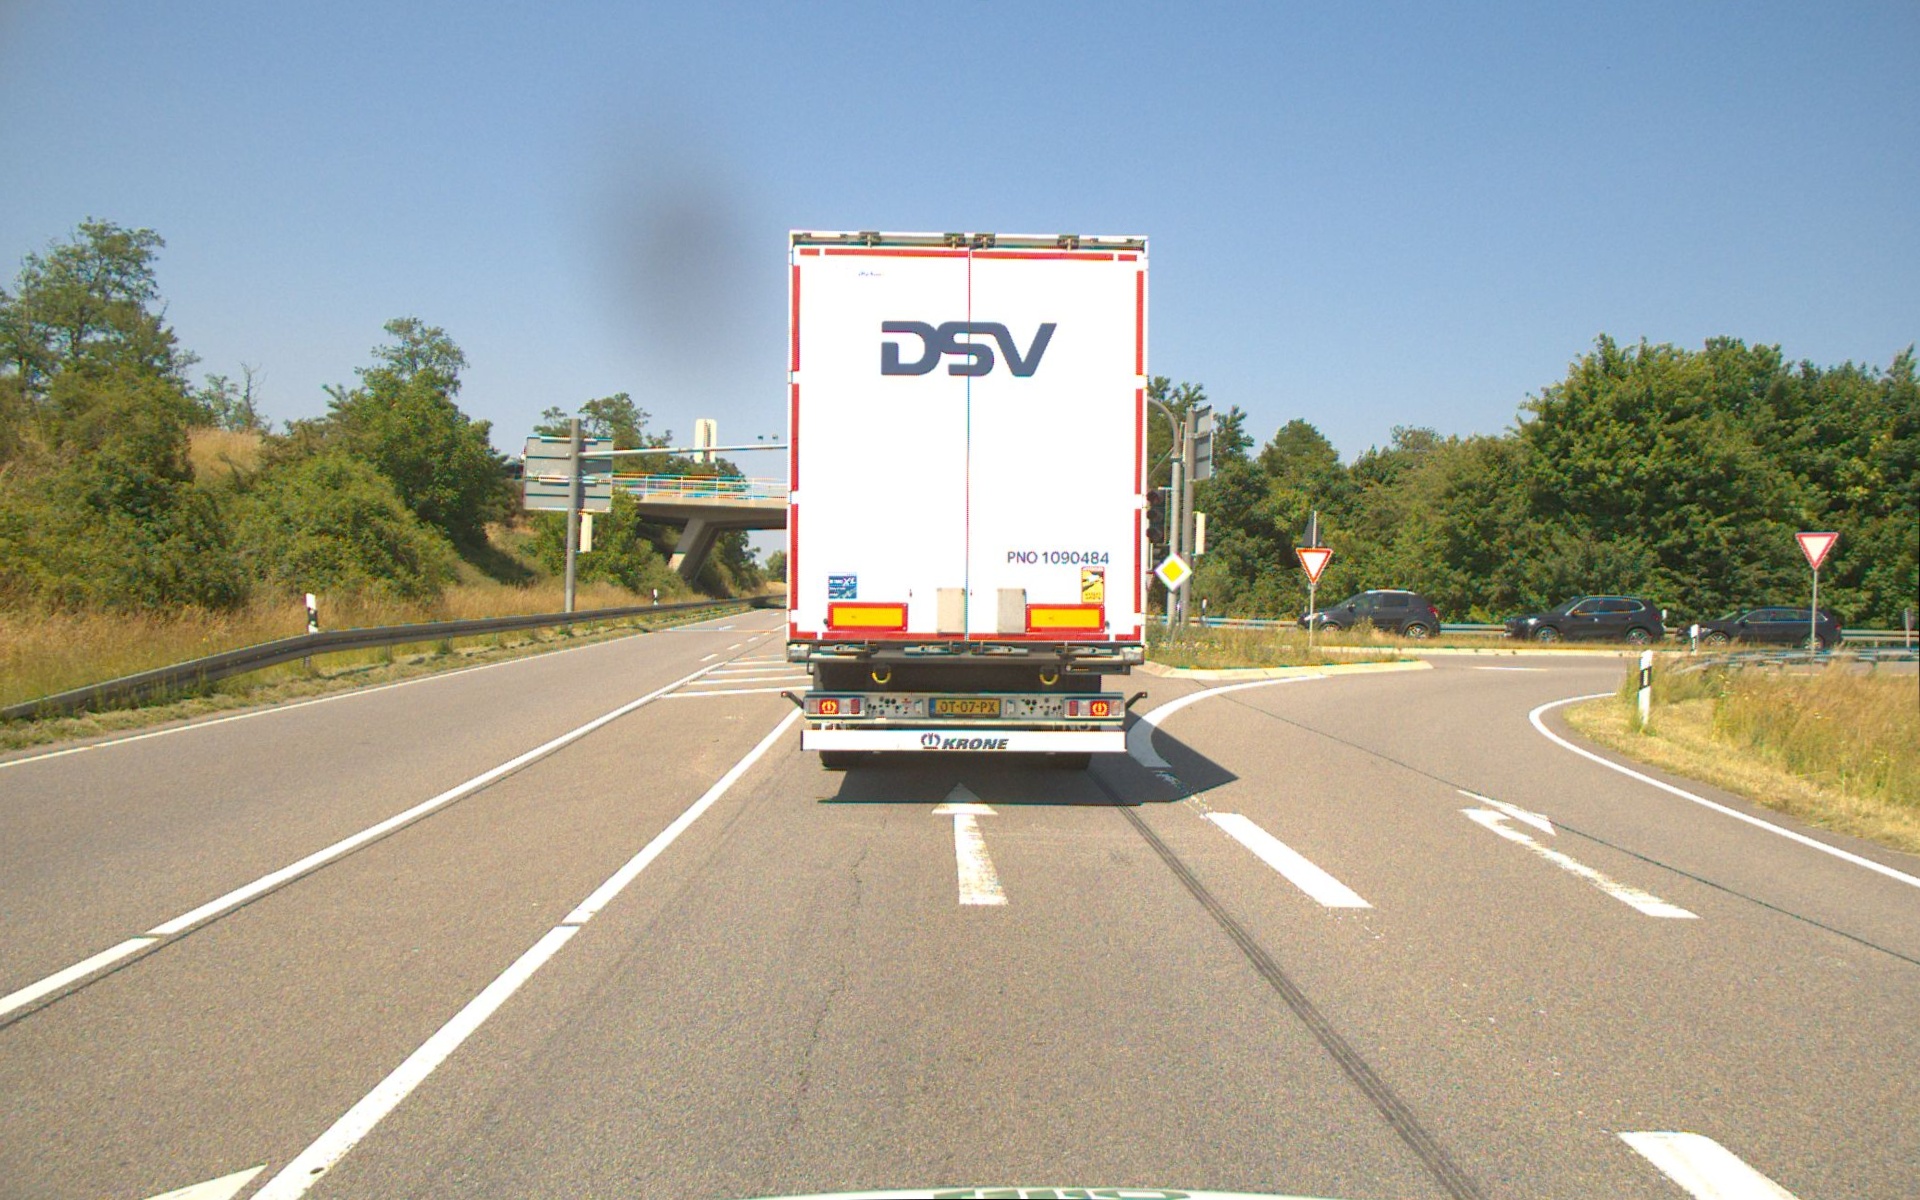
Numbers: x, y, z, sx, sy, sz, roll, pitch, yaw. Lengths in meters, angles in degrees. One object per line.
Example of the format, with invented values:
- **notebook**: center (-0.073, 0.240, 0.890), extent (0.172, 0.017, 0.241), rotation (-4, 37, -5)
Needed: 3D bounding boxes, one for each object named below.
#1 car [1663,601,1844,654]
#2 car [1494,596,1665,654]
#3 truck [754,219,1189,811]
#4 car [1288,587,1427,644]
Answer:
- **car**: center (23.990, 0.822, 50.150), extent (4.583, 1.540, 1.854), rotation (1, 0, 6)
- **car**: center (18.185, 0.722, 48.693), extent (4.393, 1.626, 1.768), rotation (1, 0, 2)
- **truck**: center (-0.011, -0.586, 16.235), extent (2.927, 4.011, 9.873), rotation (1, 0, -1)
- **car**: center (12.147, 0.481, 50.666), extent (3.901, 1.668, 1.842), rotation (1, 0, 5)
